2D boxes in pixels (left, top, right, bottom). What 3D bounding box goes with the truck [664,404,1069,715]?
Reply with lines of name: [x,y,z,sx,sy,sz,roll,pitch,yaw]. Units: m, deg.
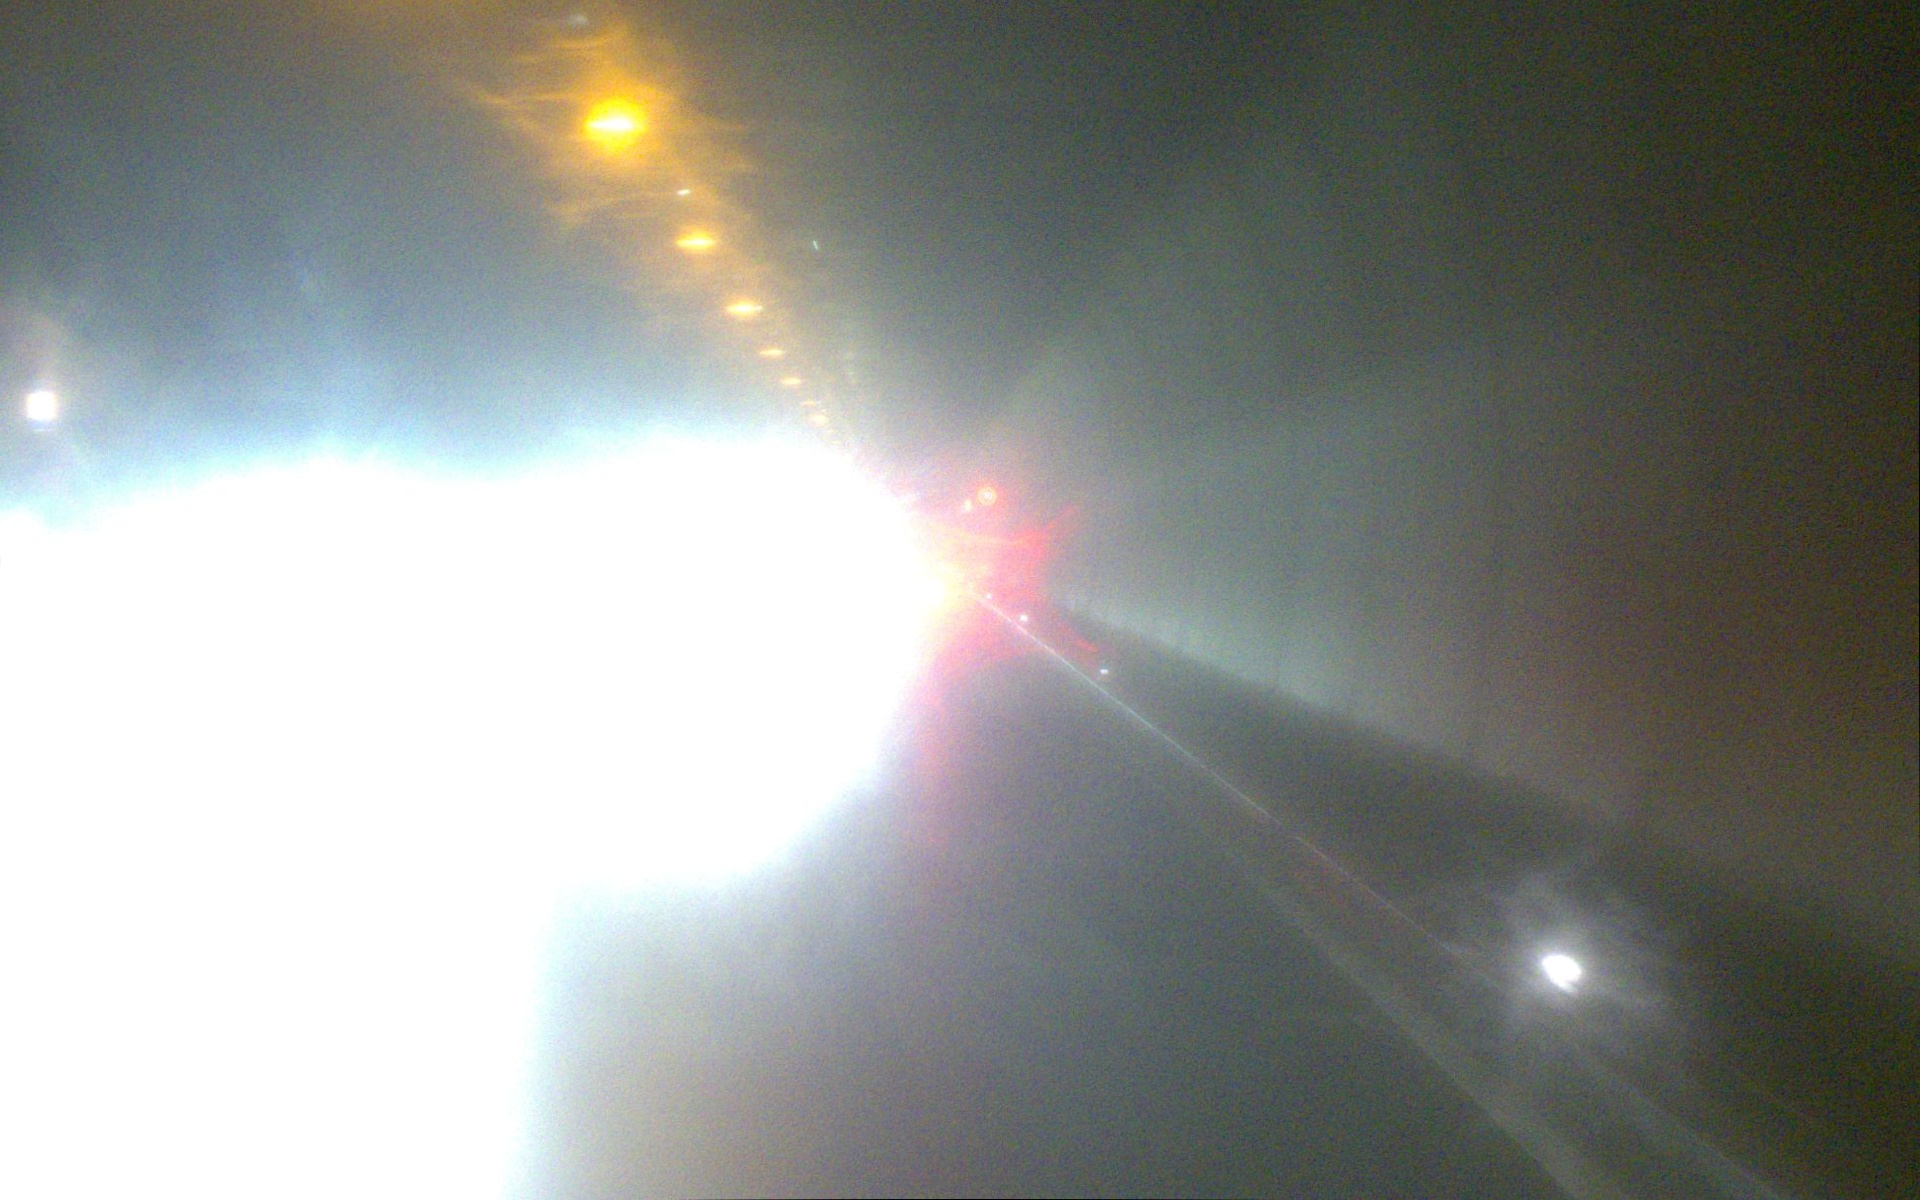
truck: [-0.875,-0.427,34.979,3.535,2.684,8.956,1,1,-1]

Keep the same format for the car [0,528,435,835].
car: [-3.968,0.357,18.627,1.759,1.475,3.887,1,1,-2]

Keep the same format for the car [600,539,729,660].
car: [-4.695,-0.019,55.021,1.729,1.786,3.932,2,0,-1]
